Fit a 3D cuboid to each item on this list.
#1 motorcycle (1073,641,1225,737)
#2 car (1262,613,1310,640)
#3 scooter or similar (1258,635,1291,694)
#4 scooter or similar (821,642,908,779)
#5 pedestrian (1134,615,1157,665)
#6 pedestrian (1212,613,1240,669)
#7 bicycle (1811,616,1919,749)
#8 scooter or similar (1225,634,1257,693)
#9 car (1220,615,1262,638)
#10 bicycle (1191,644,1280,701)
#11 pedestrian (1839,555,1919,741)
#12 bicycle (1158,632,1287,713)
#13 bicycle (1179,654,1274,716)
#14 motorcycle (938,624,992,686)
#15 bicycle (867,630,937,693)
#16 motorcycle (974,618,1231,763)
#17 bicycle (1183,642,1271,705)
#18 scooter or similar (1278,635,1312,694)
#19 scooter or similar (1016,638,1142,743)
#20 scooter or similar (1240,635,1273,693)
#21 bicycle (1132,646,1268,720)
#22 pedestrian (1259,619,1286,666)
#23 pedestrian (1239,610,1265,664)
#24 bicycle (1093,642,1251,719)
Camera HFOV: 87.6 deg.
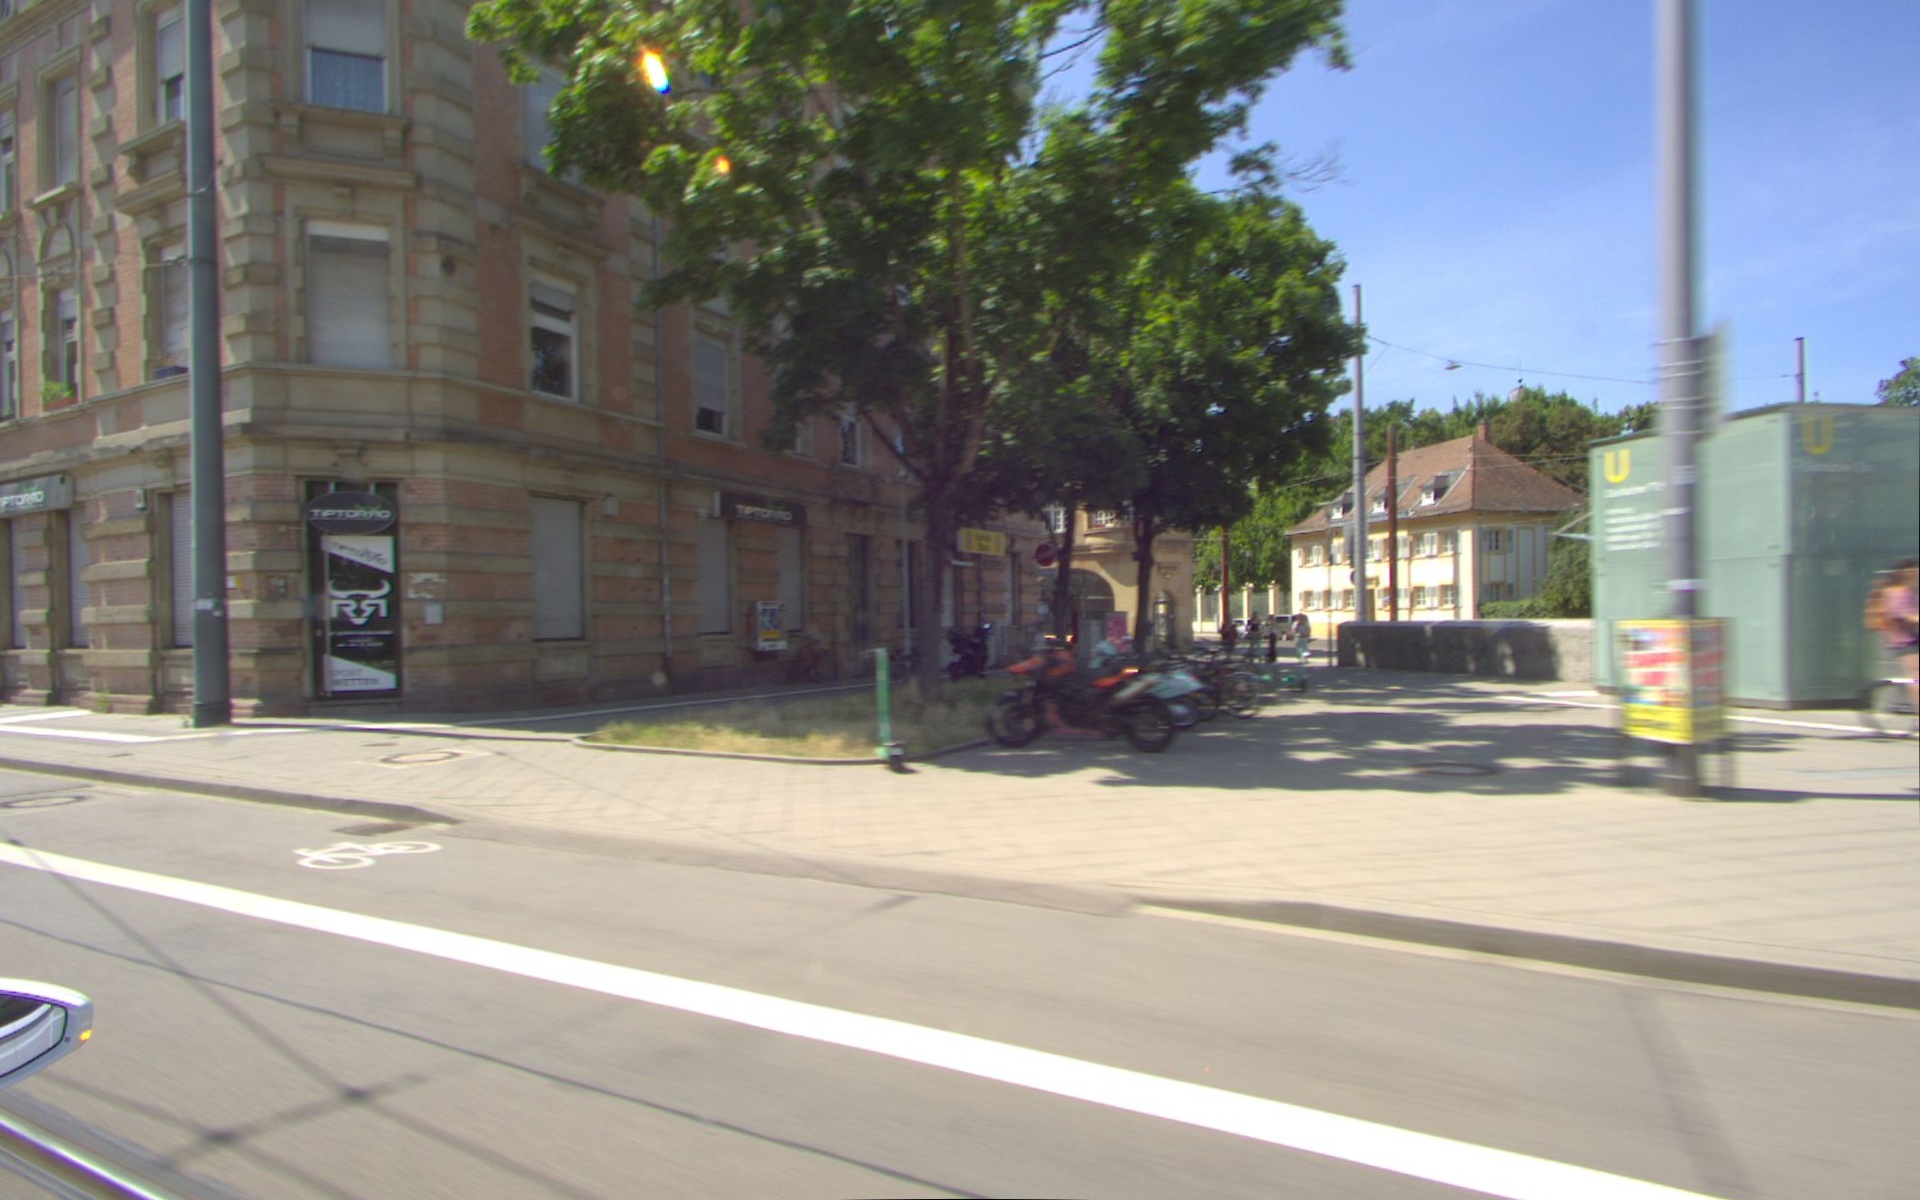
[{"bbox_3d":[2.352,1.079,12.487,1.721,1.110,0.690,-2,-1,29],"label":"motorcycle"},{"bbox_3d":[22.631,1.806,69.570,1.611,1.806,3.478,0,-1,-13],"label":"car"},{"bbox_3d":[6.357,1.286,20.279,0.263,1.140,0.987,0,0,-6],"label":"scooter or similar"},{"bbox_3d":[-0.888,1.013,9.657,0.701,1.170,1.525,0,-1,-1],"label":"scooter or similar"},{"bbox_3d":[6.411,1.377,34.576,0.603,1.721,0.585,0,0,-13],"label":"pedestrian"},{"bbox_3d":[7.877,1.204,29.677,0.603,1.617,0.601,0,0,-12],"label":"pedestrian"},{"bbox_3d":[9.742,0.784,9.584,1.080,1.267,2.218,0,-1,-16],"label":"bicycle"},{"bbox_3d":[5.661,1.269,20.176,0.263,1.140,0.987,0,0,-6],"label":"scooter or similar"},{"bbox_3d":[21.116,1.985,75.340,1.611,1.689,3.478,0,-1,-13],"label":"car"},{"bbox_3d":[5.005,1.306,18.279,1.540,1.005,0.503,-1,0,13],"label":"bicycle"},{"bbox_3d":[9.575,0.467,10.030,0.800,1.798,0.823,-1,-1,-16],"label":"pedestrian"},{"bbox_3d":[3.964,1.066,15.134,1.808,1.161,0.645,-1,0,24],"label":"bicycle"},{"bbox_3d":[4.218,1.327,15.852,1.405,0.917,0.455,-1,0,24],"label":"bicycle"},{"bbox_3d":[0.132,1.191,22.097,0.495,1.307,1.639,-1,-1,27],"label":"motorcycle"},{"bbox_3d":[-1.162,1.223,20.450,0.702,1.193,1.877,-1,-1,21],"label":"bicycle"},{"bbox_3d":[1.460,0.903,10.517,2.556,1.380,0.763,-2,-1,29],"label":"motorcycle"},{"bbox_3d":[4.533,1.226,17.044,0.452,1.005,1.415,0,-1,-45],"label":"bicycle"},{"bbox_3d":[6.783,1.286,20.294,0.263,1.140,0.987,0,0,-6],"label":"scooter or similar"},{"bbox_3d":[1.398,1.050,11.736,1.355,1.166,0.601,-2,-1,18],"label":"scooter or similar"},{"bbox_3d":[5.973,1.277,20.206,0.263,1.140,0.987,0,0,-6],"label":"scooter or similar"},{"bbox_3d":[3.465,1.177,14.502,1.811,0.978,0.644,-1,-1,31],"label":"bicycle"},{"bbox_3d":[9.876,1.329,31.672,0.575,1.462,0.614,0,0,-12],"label":"pedestrian"},{"bbox_3d":[9.434,1.187,32.398,0.603,1.721,0.585,0,0,-12],"label":"pedestrian"},{"bbox_3d":[2.925,1.090,13.876,2.050,0.978,0.645,-1,0,29],"label":"bicycle"}]
